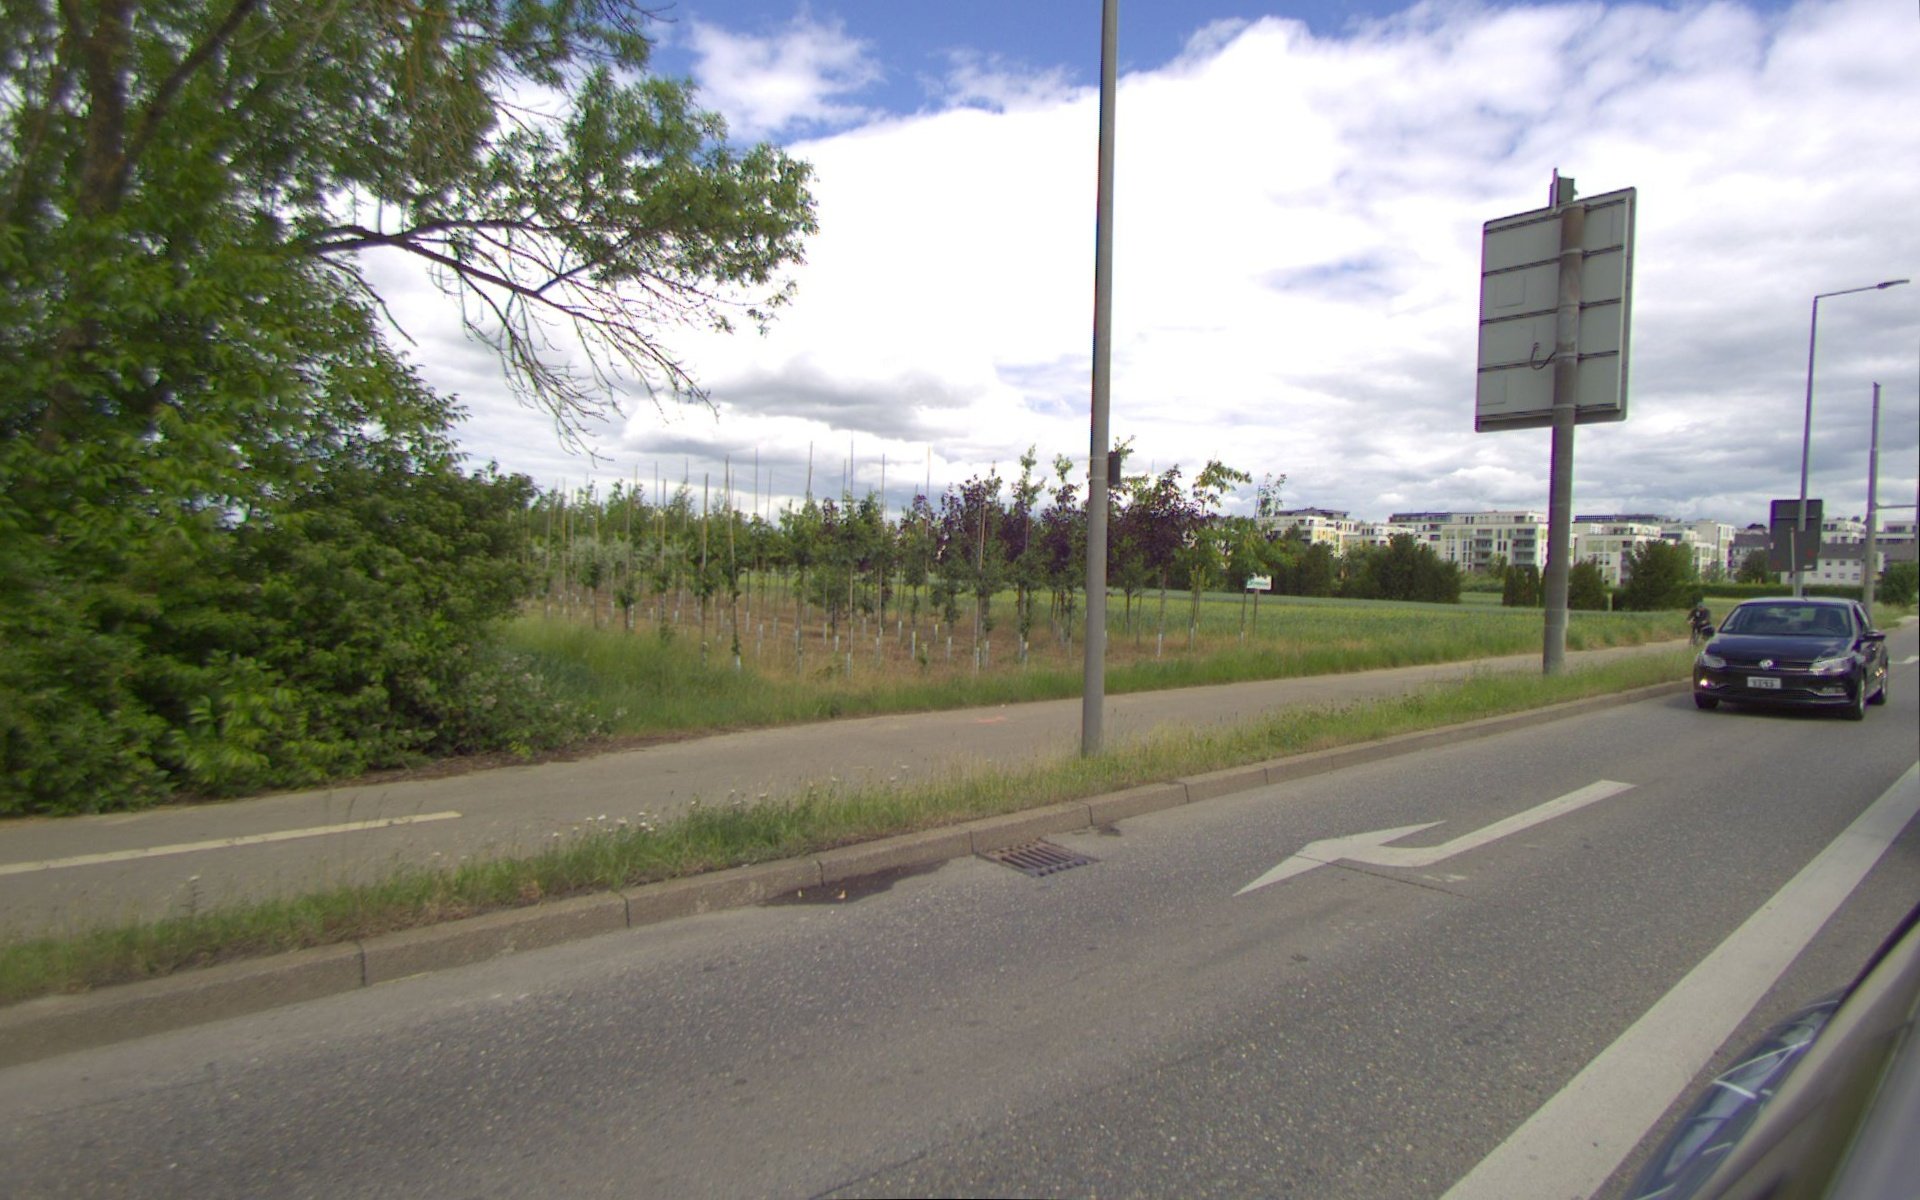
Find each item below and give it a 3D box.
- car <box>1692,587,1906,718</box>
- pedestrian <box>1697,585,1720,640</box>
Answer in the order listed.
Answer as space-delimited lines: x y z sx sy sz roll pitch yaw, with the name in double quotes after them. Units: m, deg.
11.104 0.566 13.313 3.677 1.436 1.680 -1 2 -43 "car"
24.130 0.394 32.614 0.615 1.724 0.492 -1 0 -43 "pedestrian"
